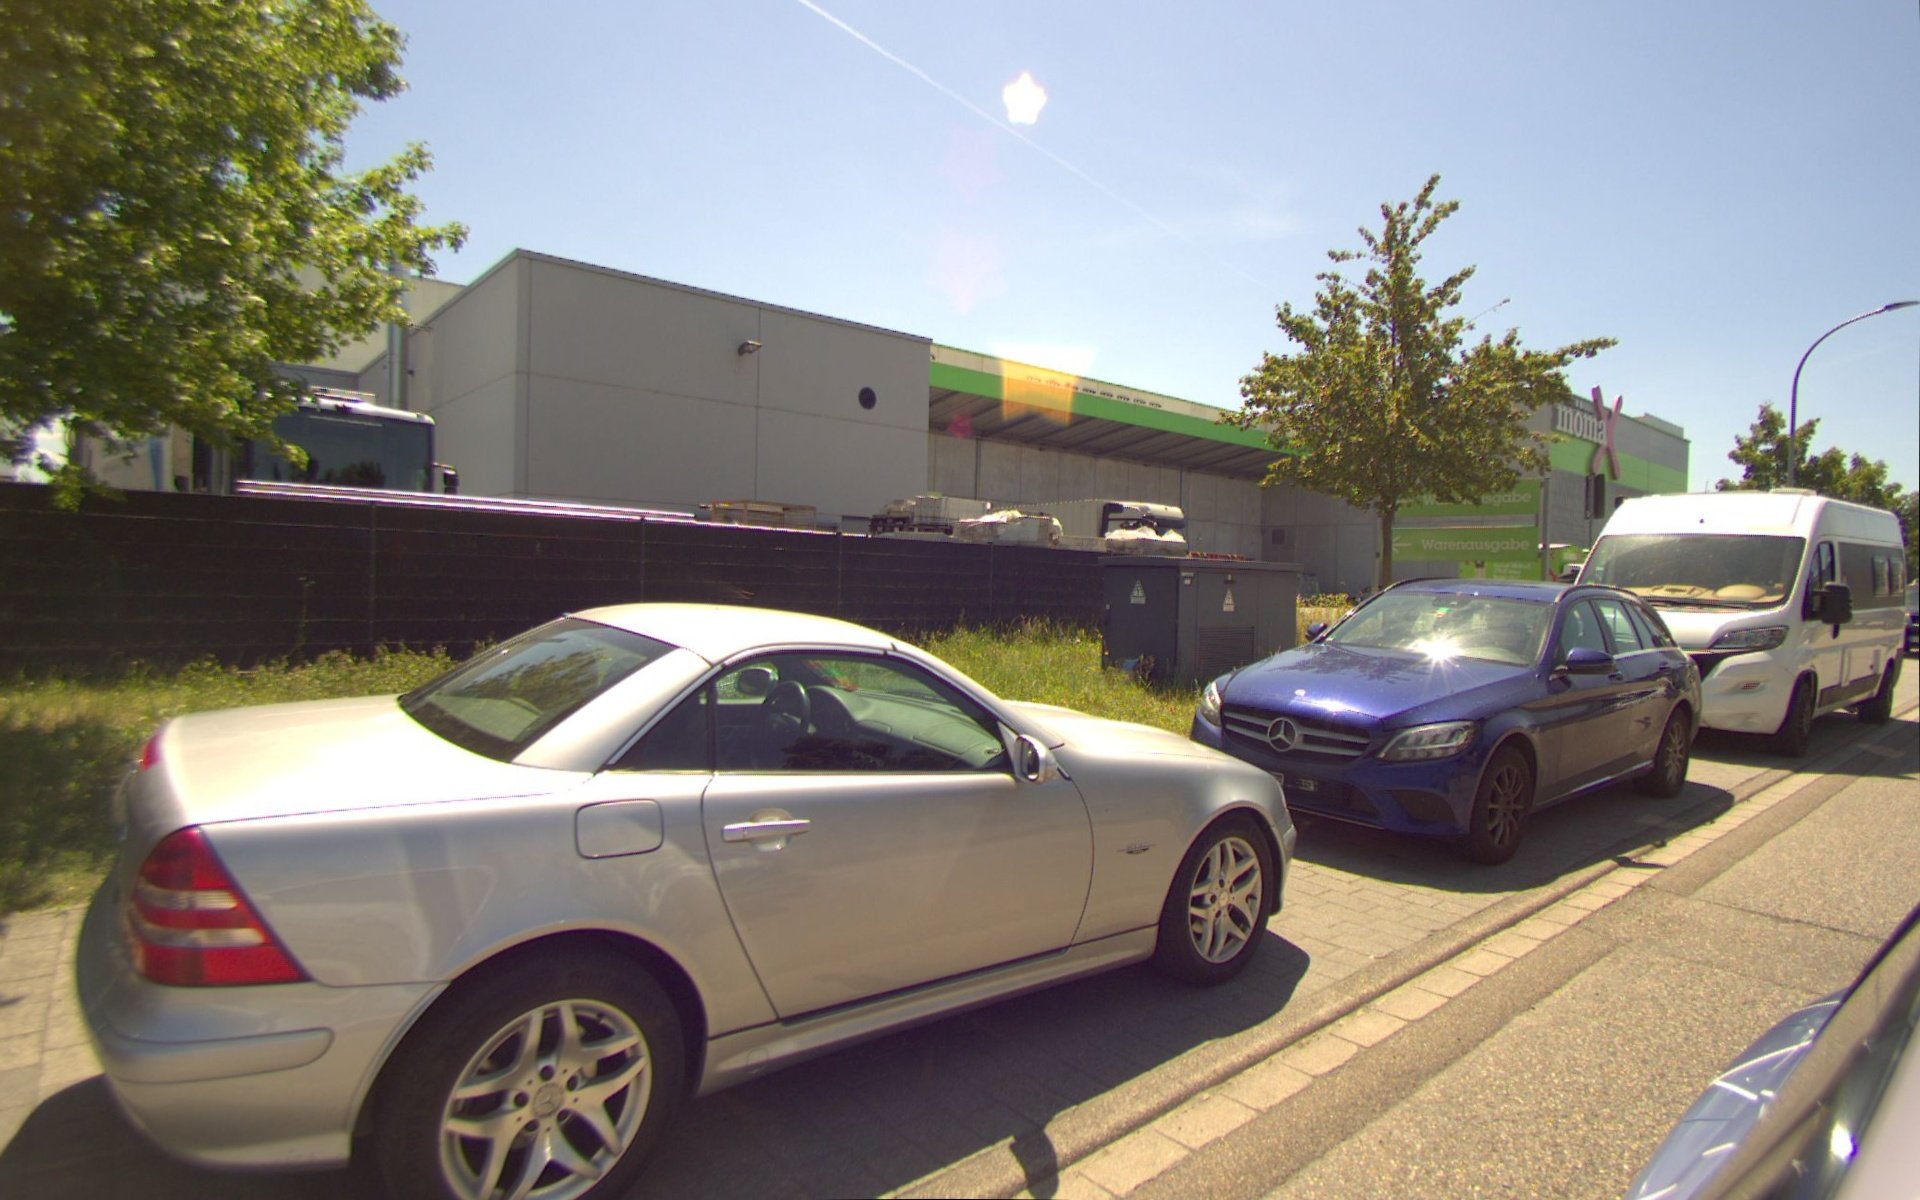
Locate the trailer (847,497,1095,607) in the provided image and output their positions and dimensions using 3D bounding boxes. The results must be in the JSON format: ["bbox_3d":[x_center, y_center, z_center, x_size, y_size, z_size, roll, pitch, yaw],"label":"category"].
[{"bbox_3d":[-0.044,-1.942,41.714,2.754,3.923,12.648,-1,2,-39],"label":"trailer"}]

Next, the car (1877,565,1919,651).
[{"bbox_3d":[23.733,0.198,24.184,5.064,1.907,1.998,0,3,-40],"label":"car"}]

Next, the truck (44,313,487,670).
[{"bbox_3d":[-11.003,-1.418,15.369,9.967,3.869,2.994,3,2,40],"label":"truck"}]

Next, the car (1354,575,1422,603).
[{"bbox_3d":[25.437,-0.664,60.245,1.521,1.552,3.397,0,2,-38],"label":"car"}]

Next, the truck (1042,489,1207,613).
[{"bbox_3d":[5.575,-1.645,34.859,2.754,3.923,5.074,-1,2,-39],"label":"truck"}]

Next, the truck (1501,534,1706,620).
[{"bbox_3d":[23.475,-0.921,37.141,2.267,2.907,5.911,0,2,-43],"label":"truck"}]

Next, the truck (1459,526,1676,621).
[{"bbox_3d":[20.486,-0.954,34.381,2.372,2.949,5.833,0,2,-41],"label":"truck"}]

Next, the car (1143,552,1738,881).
[{"bbox_3d":[3.411,0.519,6.788,4.396,1.512,1.833,0,2,-39],"label":"car"}]

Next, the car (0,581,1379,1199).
[{"bbox_3d":[-0.432,0.616,3.472,4.041,1.303,1.716,-1,3,-39],"label":"car"}]

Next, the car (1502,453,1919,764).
[{"bbox_3d":[8.455,0.013,10.997,6.040,2.528,2.274,0,2,-39],"label":"car"}]
